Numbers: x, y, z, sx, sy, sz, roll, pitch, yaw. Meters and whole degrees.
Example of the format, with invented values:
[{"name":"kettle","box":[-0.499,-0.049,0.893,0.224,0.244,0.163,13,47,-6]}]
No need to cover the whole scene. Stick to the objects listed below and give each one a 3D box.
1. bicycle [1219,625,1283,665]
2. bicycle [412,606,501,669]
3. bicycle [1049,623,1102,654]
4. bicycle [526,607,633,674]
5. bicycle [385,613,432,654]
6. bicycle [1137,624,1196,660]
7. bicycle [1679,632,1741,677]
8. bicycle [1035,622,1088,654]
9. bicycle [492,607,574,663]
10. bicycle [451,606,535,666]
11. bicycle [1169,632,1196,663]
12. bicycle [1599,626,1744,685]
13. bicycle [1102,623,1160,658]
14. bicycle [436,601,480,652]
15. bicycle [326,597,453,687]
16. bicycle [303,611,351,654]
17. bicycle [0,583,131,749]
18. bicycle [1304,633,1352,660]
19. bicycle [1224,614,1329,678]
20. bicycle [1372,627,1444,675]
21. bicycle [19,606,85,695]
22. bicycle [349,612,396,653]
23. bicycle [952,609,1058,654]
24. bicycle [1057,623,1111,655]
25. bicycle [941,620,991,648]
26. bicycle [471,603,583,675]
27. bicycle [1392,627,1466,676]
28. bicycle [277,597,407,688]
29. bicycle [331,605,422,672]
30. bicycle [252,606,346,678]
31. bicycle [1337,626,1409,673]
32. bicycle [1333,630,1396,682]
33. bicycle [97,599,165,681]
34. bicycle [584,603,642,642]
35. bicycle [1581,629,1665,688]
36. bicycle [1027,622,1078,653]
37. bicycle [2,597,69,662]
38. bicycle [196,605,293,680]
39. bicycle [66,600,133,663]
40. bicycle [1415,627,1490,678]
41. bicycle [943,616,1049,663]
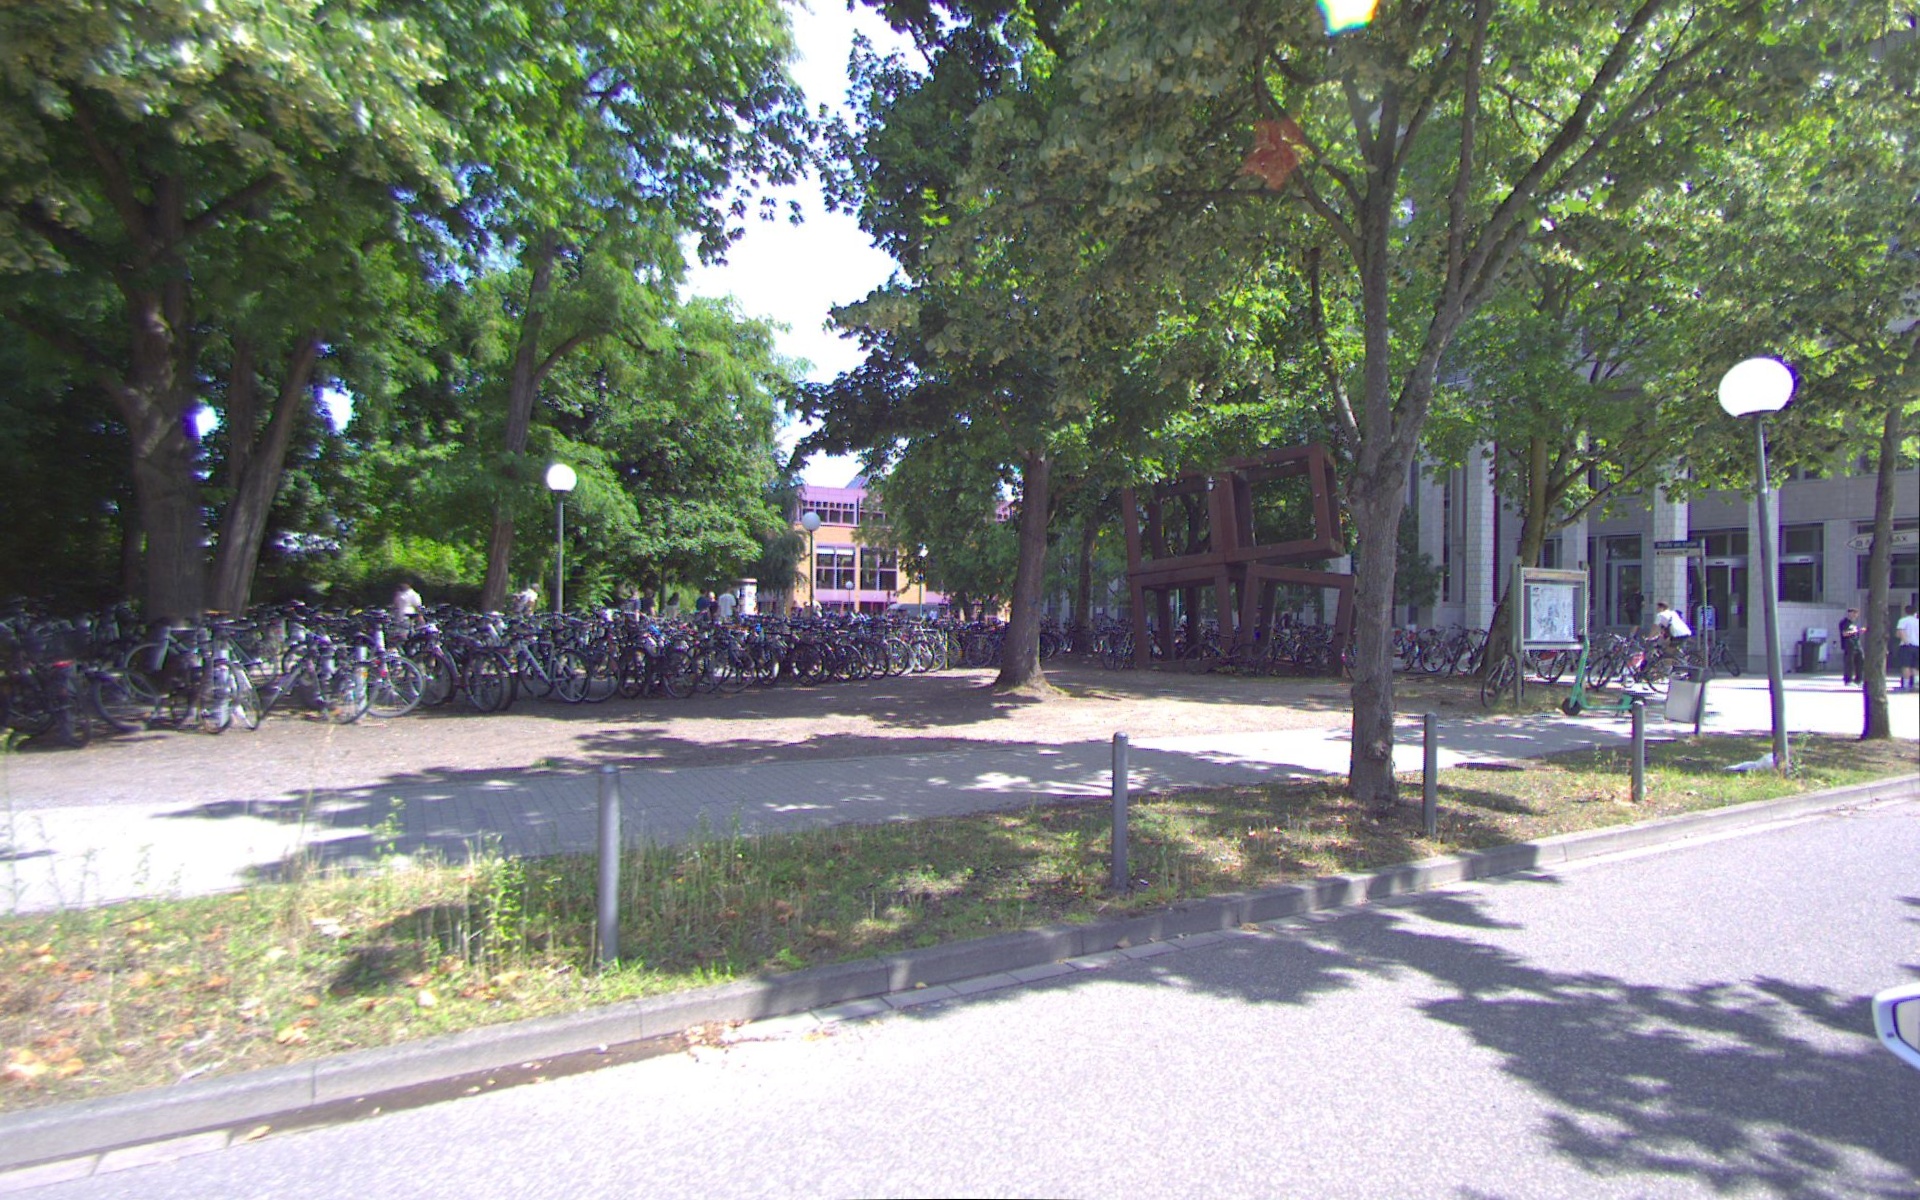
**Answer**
[{"name":"bicycle","box":[8.366,1.281,28.815,1.950,1.101,0.549,1,1,-30]},{"name":"bicycle","box":[-9.471,0.685,18.869,1.933,1.104,0.546,1,0,32]},{"name":"bicycle","box":[4.167,1.381,36.143,1.950,1.101,0.549,1,1,-30]},{"name":"bicycle","box":[-7.084,0.732,18.686,2.022,1.147,0.639,1,1,26]},{"name":"bicycle","box":[-13.360,0.792,24.299,1.741,0.906,0.417,1,0,41]},{"name":"bicycle","box":[6.509,1.310,31.629,1.950,1.101,0.549,1,1,-30]},{"name":"bicycle","box":[18.959,1.362,25.372,1.840,1.028,0.463,-1,2,-26]},{"name":"bicycle","box":[3.742,1.395,37.005,1.950,1.101,0.549,1,1,-30]},{"name":"bicycle","box":[-8.912,0.707,20.924,1.933,1.104,0.546,1,0,32]},{"name":"bicycle","box":[-9.270,0.698,19.912,1.933,1.104,0.546,1,0,32]},{"name":"bicycle","box":[6.013,1.272,27.141,0.317,0.773,1.558,1,0,27]},{"name":"bicycle","box":[16.234,1.232,23.031,0.871,1.215,2.738,1,0,-18]},{"name":"bicycle","box":[5.603,1.319,32.851,1.950,1.101,0.549,1,1,-30]},{"name":"bicycle","box":[-12.624,0.642,25.244,1.772,1.223,0.421,1,1,44]},{"name":"bicycle","box":[-8.740,0.615,15.373,2.022,1.251,0.639,2,1,26]},{"name":"bicycle","box":[-14.374,0.715,22.794,1.741,0.906,0.417,1,0,41]},{"name":"bicycle","box":[-7.982,0.510,8.844,2.031,1.251,0.804,3,1,43]},{"name":"bicycle","box":[13.375,1.676,36.533,1.971,0.959,0.523,1,-1,-31]},{"name":"bicycle","box":[6.485,0.927,20.634,1.984,1.270,0.586,-1,-1,29]},{"name":"bicycle","box":[10.911,1.223,24.436,1.950,1.101,0.549,1,1,-30]},{"name":"bicycle","box":[-12.416,0.653,13.714,1.940,1.104,0.544,1,0,44]},{"name":"bicycle","box":[-13.856,0.751,23.661,1.741,0.906,0.417,1,0,41]},{"name":"bicycle","box":[1.255,0.869,28.250,2.853,1.171,0.743,1,0,18]},{"name":"bicycle","box":[4.392,1.367,35.498,1.950,1.101,0.549,1,1,-30]},{"name":"bicycle","box":[0.252,1.382,40.898,1.950,1.101,0.614,1,1,-30]},{"name":"bicycle","box":[-7.582,0.652,17.578,2.022,1.173,0.639,1,1,26]},{"name":"bicycle","box":[11.117,1.209,23.804,1.950,1.101,0.549,1,1,-30]},{"name":"bicycle","box":[-9.121,0.592,14.804,2.022,1.251,0.639,1,1,26]},{"name":"bicycle","box":[-10.383,0.665,17.853,1.933,1.104,0.546,1,0,32]},{"name":"bicycle","box":[-11.031,0.676,16.745,1.933,1.104,0.546,1,0,32]},{"name":"bicycle","box":[10.315,1.223,25.060,1.950,1.101,0.549,1,1,-30]},{"name":"bicycle","box":[8.096,1.099,20.060,1.644,0.978,0.471,1,0,-41]},{"name":"bicycle","box":[-12.084,0.548,14.623,1.940,1.104,0.544,1,0,44]},{"name":"bicycle","box":[-9.897,0.618,28.613,2.029,1.049,0.504,1,0,37]},{"name":"bicycle","box":[13.178,1.151,19.949,1.950,1.101,0.549,1,1,-30]},{"name":"bicycle","box":[3.491,1.416,37.869,1.950,1.101,0.549,1,1,-30]},{"name":"bicycle","box":[-16.969,0.517,18.429,1.927,1.106,0.595,1,-1,39]},{"name":"bicycle","box":[-11.341,0.647,15.900,1.933,1.104,0.546,1,0,32]},{"name":"bicycle","box":[-16.420,0.581,19.157,1.927,1.106,0.595,1,-1,39]},{"name":"bicycle","box":[11.433,1.202,23.287,1.950,1.101,0.549,1,1,-30]},{"name":"bicycle","box":[0.960,1.042,27.097,2.708,1.083,0.743,3,1,18]}]
